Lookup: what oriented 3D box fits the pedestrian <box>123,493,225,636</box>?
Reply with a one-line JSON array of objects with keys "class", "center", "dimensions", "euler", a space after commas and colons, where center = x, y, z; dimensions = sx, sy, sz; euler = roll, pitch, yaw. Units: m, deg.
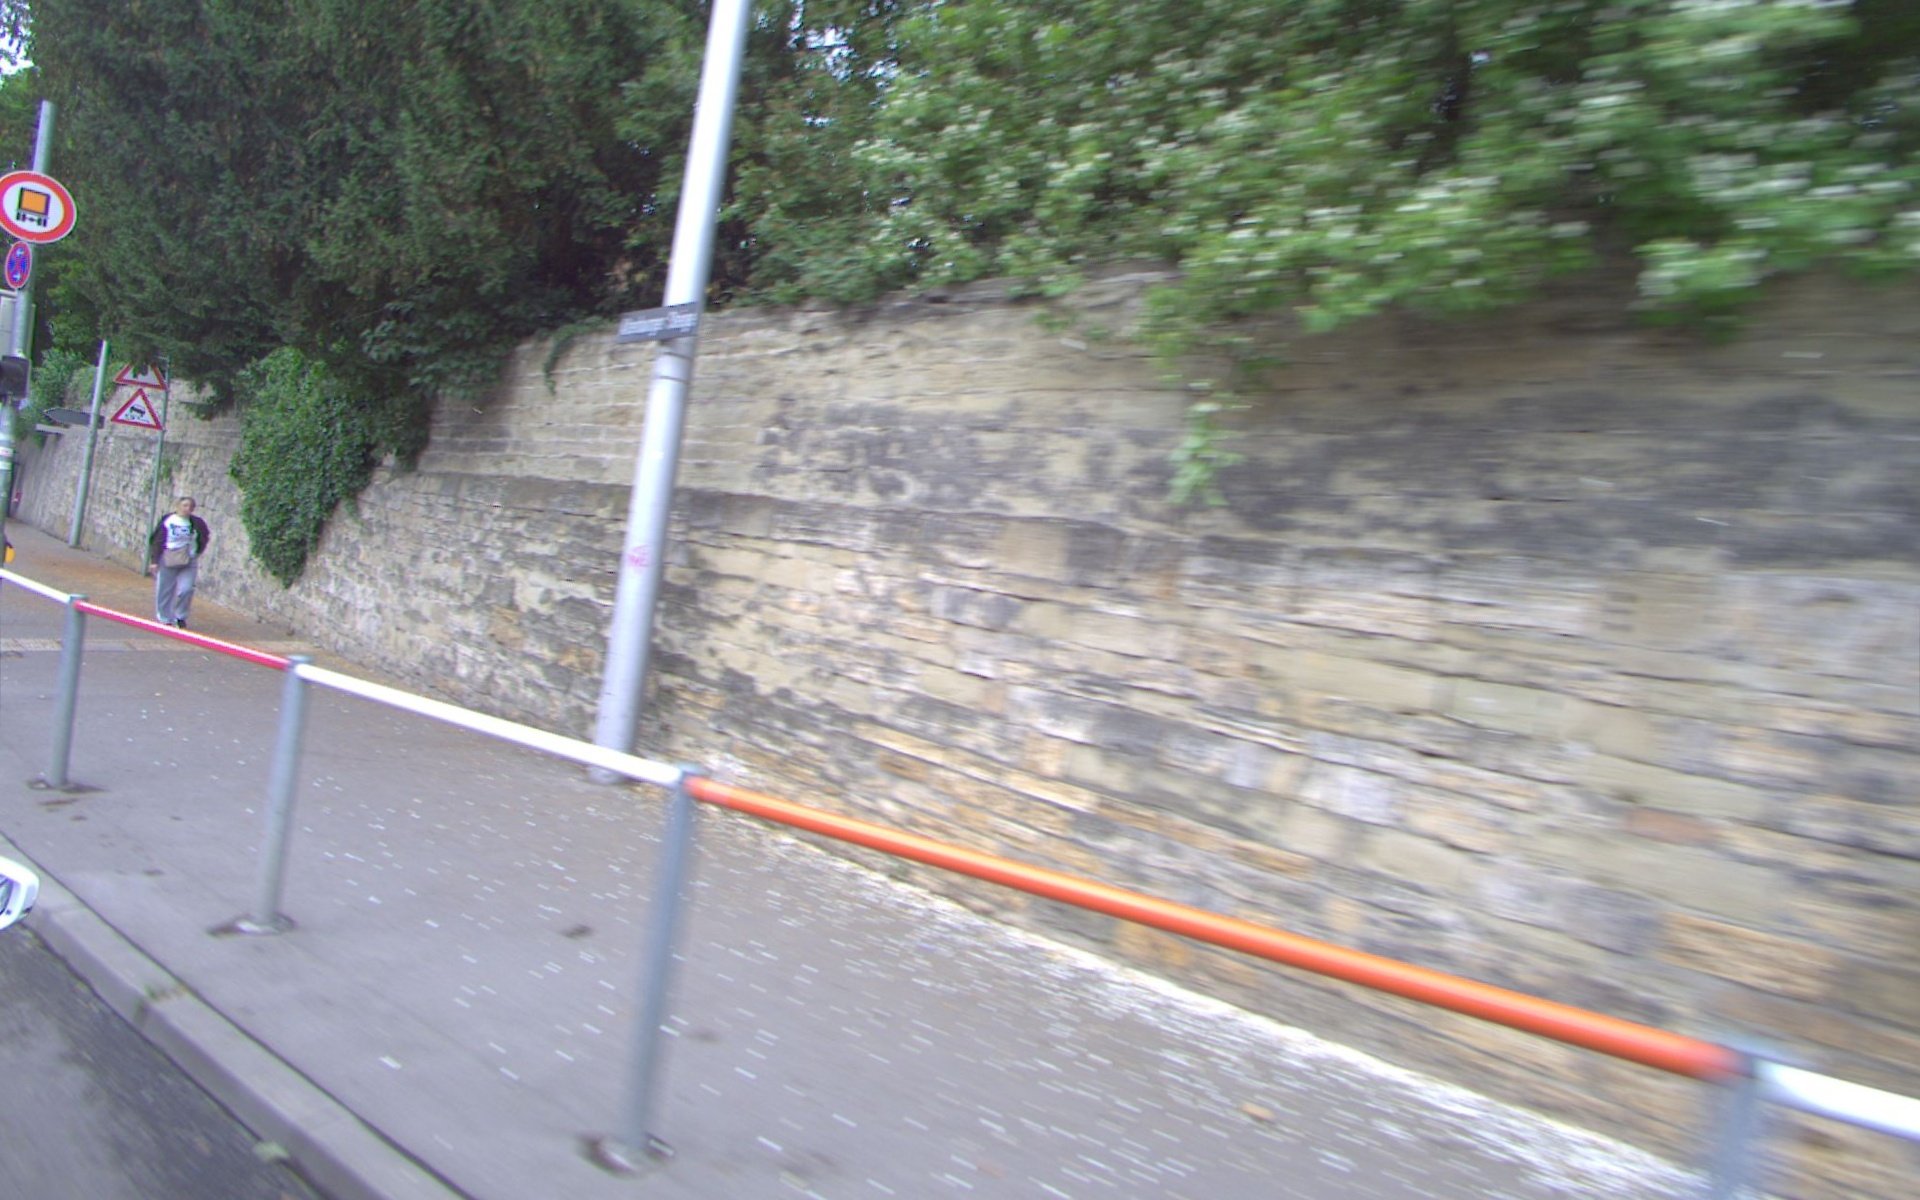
[{"class": "pedestrian", "center": [-9.378, -0.423, 11.998], "dimensions": [0.733, 1.596, 0.730], "euler": [8, 2, 40]}]
